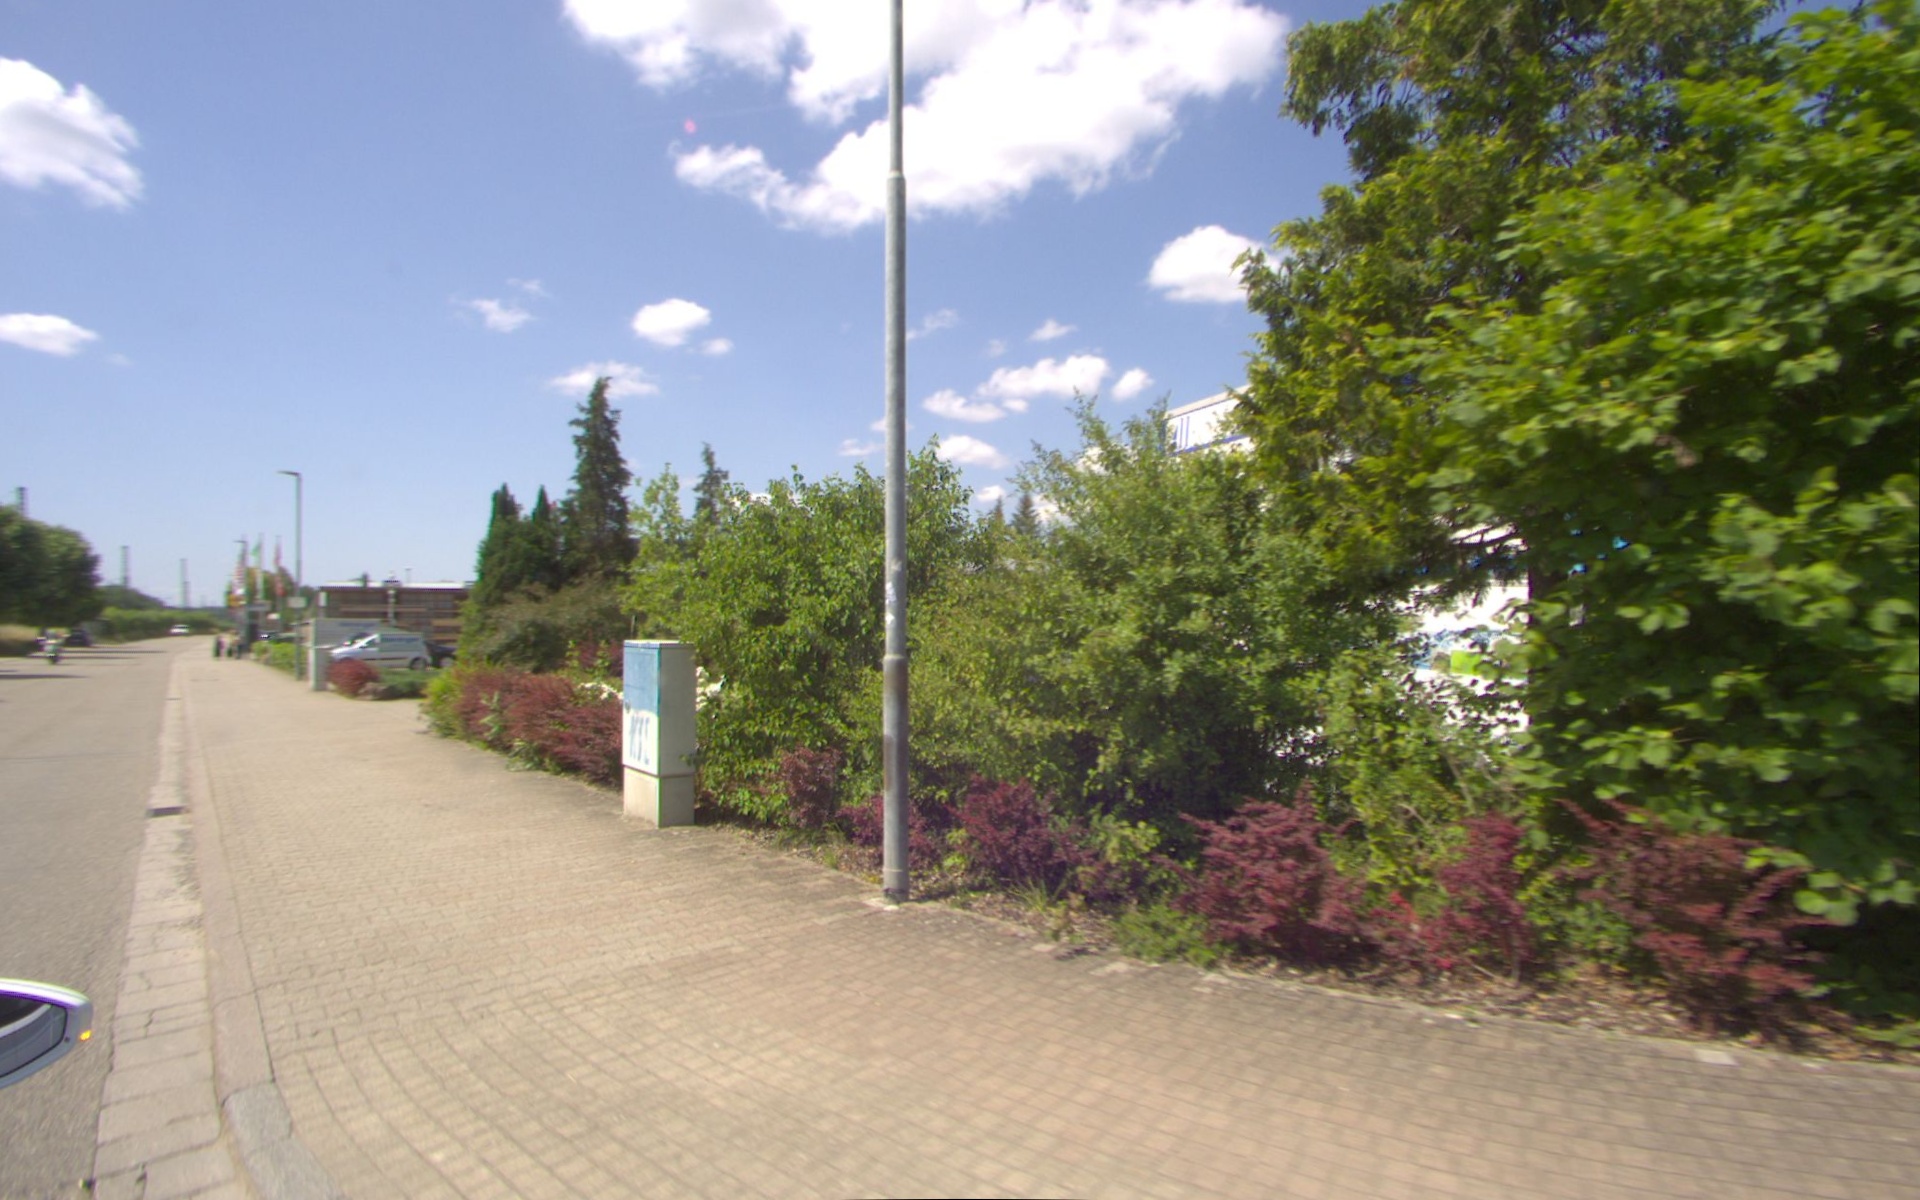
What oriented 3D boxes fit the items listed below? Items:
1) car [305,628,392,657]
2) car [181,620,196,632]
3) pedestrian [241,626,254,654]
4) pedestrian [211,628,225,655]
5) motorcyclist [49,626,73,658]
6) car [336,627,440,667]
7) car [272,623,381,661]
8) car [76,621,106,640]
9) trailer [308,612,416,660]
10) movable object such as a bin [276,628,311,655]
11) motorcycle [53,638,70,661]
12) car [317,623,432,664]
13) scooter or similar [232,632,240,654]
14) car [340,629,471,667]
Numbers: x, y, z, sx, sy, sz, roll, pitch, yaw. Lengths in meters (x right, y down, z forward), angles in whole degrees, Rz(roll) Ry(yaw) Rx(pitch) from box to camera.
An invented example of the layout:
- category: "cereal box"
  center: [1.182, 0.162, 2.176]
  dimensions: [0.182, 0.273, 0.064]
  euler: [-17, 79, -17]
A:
- category: "car"
  center: [-32.643, 2.265, 53.522]
  dimensions: [3.812, 1.474, 1.804]
  euler: [2, -2, -37]
- category: "car"
  center: [-127.114, 4.323, 164.995]
  dimensions: [1.822, 1.882, 4.451]
  euler: [1, -2, -37]
- category: "pedestrian"
  center: [-39.368, 2.218, 55.348]
  dimensions: [0.530, 1.559, 0.507]
  euler: [-1, -2, -39]
- category: "pedestrian"
  center: [-40.418, 2.264, 54.546]
  dimensions: [0.560, 1.423, 0.579]
  euler: [-1, -2, -39]
- category: "motorcyclist"
  center: [-43.586, 2.025, 48.568]
  dimensions: [0.769, 1.528, 0.914]
  euler: [1, -1, -38]
- category: "car"
  center: [-21.988, 1.767, 38.495]
  dimensions: [3.321, 1.420, 1.757]
  euler: [0, -1, -36]
- category: "car"
  center: [-29.937, 1.975, 47.392]
  dimensions: [4.178, 1.654, 1.787]
  euler: [0, -3, -40]
- category: "car"
  center: [-74.223, 2.584, 85.599]
  dimensions: [1.727, 1.616, 3.552]
  euler: [1, -1, -38]
- category: "trailer"
  center: [-27.141, 1.609, 45.494]
  dimensions: [3.954, 2.040, 1.984]
  euler: [0, -1, -39]
- category: "movable object such as a bin"
  center: [-37.500, 2.349, 56.337]
  dimensions: [1.029, 1.477, 1.267]
  euler: [1, -2, 15]
- category: "motorcycle"
  center: [-43.544, 2.398, 48.532]
  dimensions: [0.459, 1.064, 1.940]
  euler: [1, -2, -38]
- category: "car"
  center: [-25.345, 1.866, 43.409]
  dimensions: [4.006, 1.594, 1.699]
  euler: [0, -3, -44]
- category: "scooter or similar"
  center: [-39.836, 2.358, 55.092]
  dimensions: [0.331, 1.213, 0.395]
  euler: [-1, -2, -37]
- category: "car"
  center: [-22.668, 1.947, 41.037]
  dimensions: [4.442, 1.458, 1.799]
  euler: [2, -2, -42]
